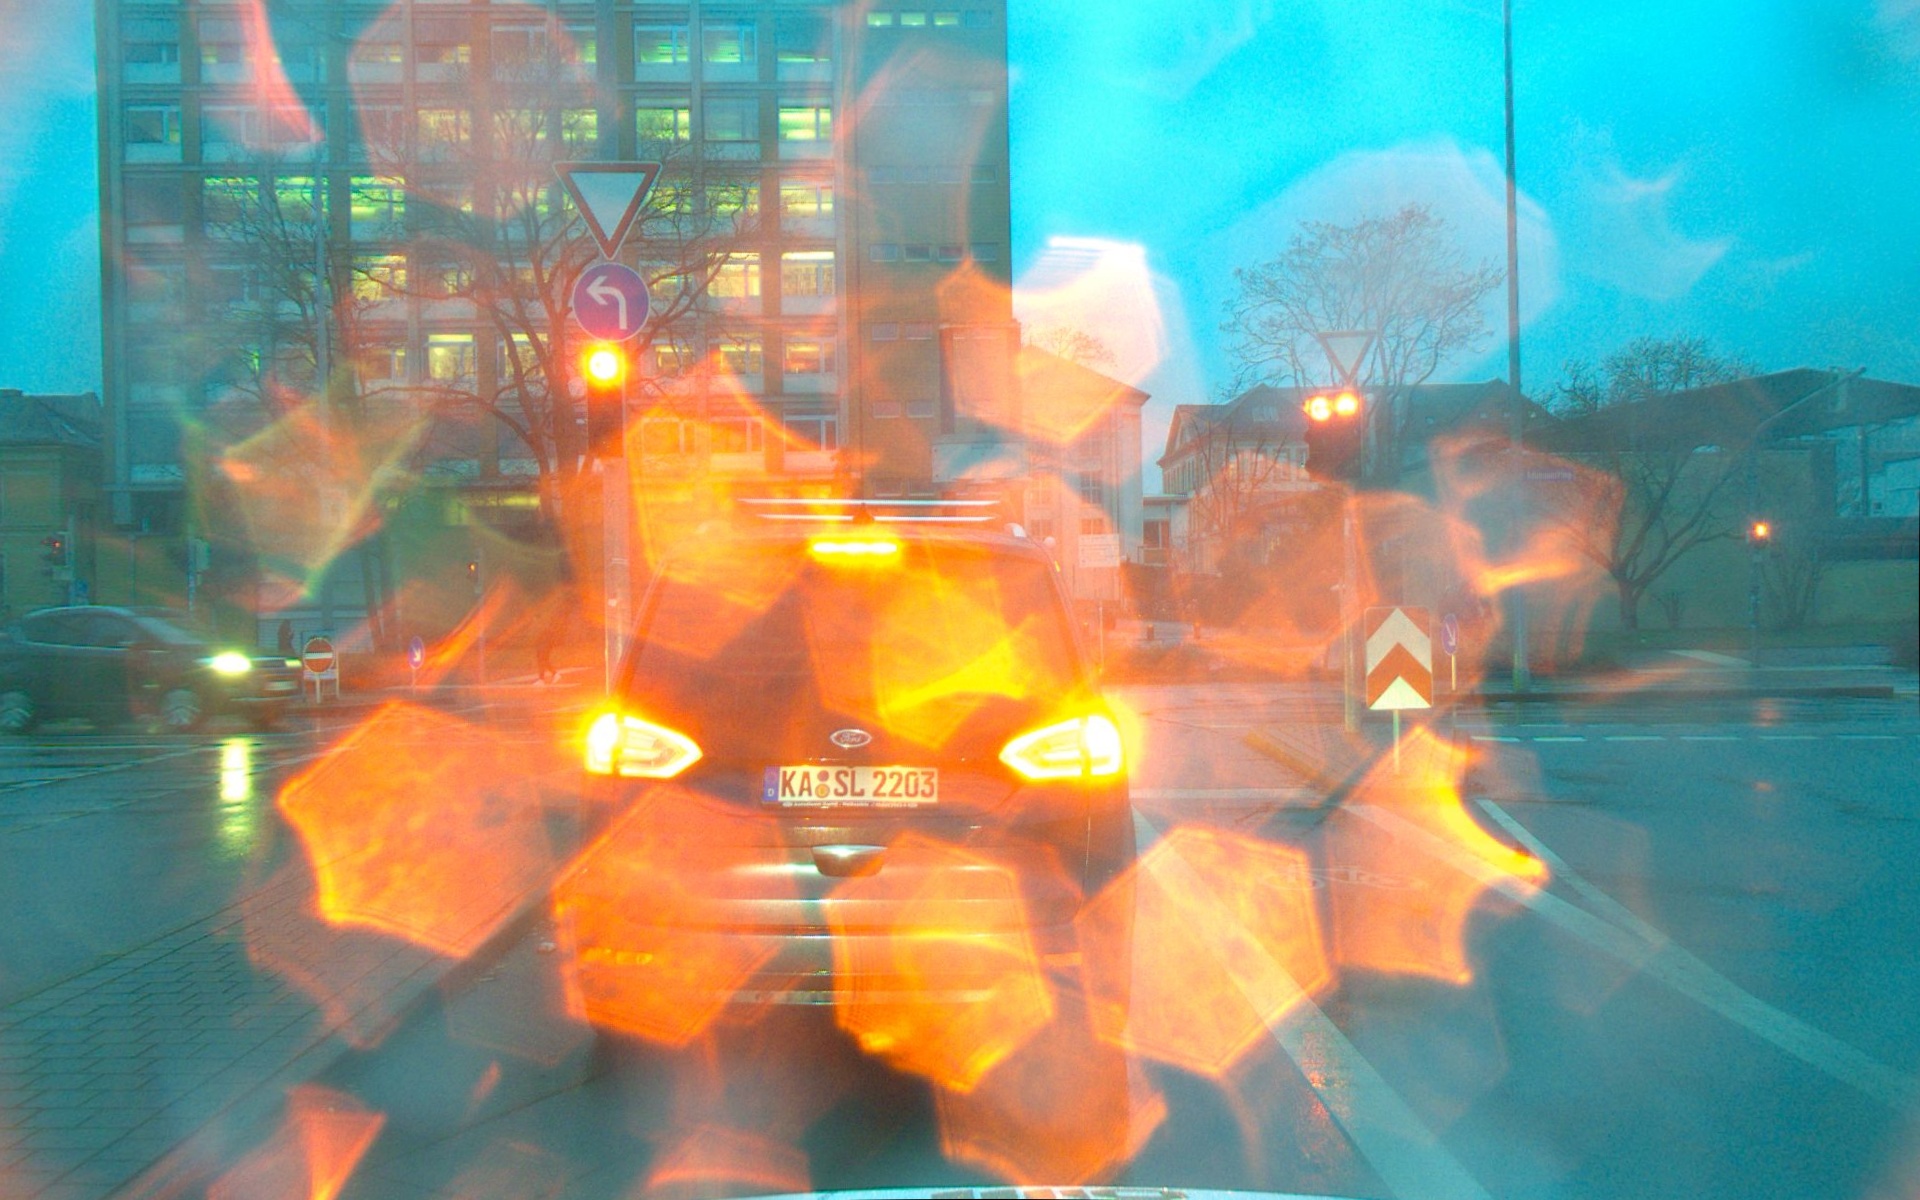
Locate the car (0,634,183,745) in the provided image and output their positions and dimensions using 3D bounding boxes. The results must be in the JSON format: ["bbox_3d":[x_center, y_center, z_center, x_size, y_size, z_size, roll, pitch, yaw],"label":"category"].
[{"bbox_3d":[-15.023,1.416,26.977,3.983,1.713,1.761,0,-2,12],"label":"car"}]

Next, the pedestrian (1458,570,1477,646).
[{"bbox_3d":[12.575,0.199,41.003,0.448,1.871,0.439,0,-2,16],"label":"pedestrian"}]

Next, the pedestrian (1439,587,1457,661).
[{"bbox_3d":[12.405,0.619,42.029,0.428,1.871,0.460,0,-2,17],"label":"pedestrian"}]

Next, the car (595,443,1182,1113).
[{"bbox_3d":[-0.225,0.480,6.587,1.613,1.850,3.999,0,0,-1],"label":"car"}]

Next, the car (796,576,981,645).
[{"bbox_3d":[-2.161,0.329,50.708,5.429,2.060,2.001,0,-2,5],"label":"car"}]

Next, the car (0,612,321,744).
[{"bbox_3d":[-11.140,1.048,22.833,3.978,1.713,1.761,0,-2,11],"label":"car"}]

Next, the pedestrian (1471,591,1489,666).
[{"bbox_3d":[13.150,0.722,41.812,0.428,1.871,0.460,0,-2,18],"label":"pedestrian"}]

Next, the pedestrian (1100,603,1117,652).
[{"bbox_3d":[3.973,0.740,44.201,0.423,1.292,0.442,0,-2,11],"label":"pedestrian"}]
